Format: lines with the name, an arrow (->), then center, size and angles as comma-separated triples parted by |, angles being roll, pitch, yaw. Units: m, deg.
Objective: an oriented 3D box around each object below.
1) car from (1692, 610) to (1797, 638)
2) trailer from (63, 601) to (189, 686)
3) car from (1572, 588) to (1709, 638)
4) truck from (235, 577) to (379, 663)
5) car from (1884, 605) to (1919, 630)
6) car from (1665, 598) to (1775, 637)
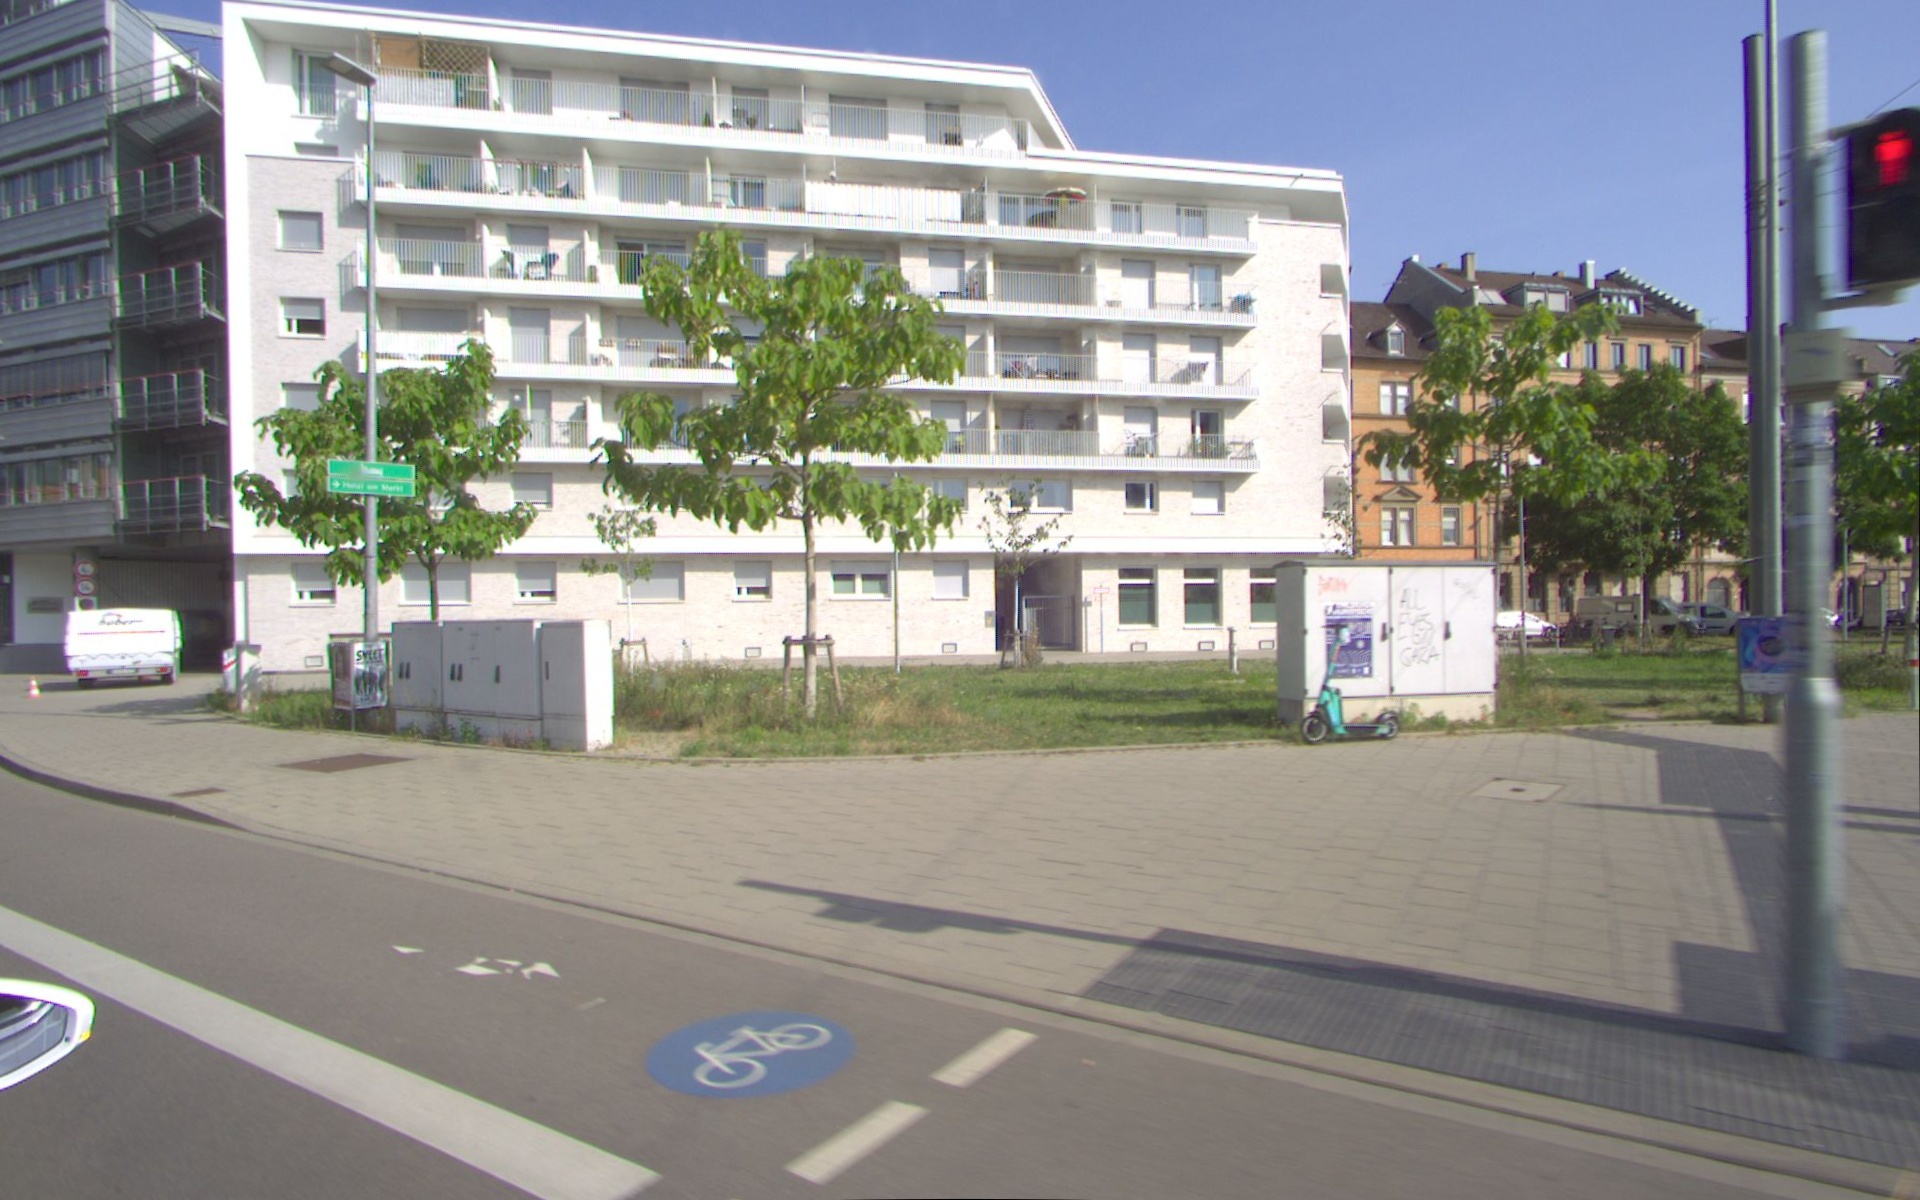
car -> 37.669, 1.156, 48.113 | 3.817, 1.265, 1.706 | -2, -1, 45
trailer -> -23.769, 1.178, 28.766 | 2.367, 2.179, 5.907 | 0, -1, -36
car -> 32.000, 0.649, 47.212 | 1.858, 2.206, 5.008 | 0, -1, -38
truck -> -26.693, 0.695, 41.282 | 1.961, 3.140, 6.147 | -2, 2, -2
car -> 49.616, 0.885, 50.947 | 3.817, 1.265, 1.706 | -2, -1, 45
car -> 35.696, 0.849, 47.087 | 3.944, 1.728, 1.863 | -2, -1, 45
